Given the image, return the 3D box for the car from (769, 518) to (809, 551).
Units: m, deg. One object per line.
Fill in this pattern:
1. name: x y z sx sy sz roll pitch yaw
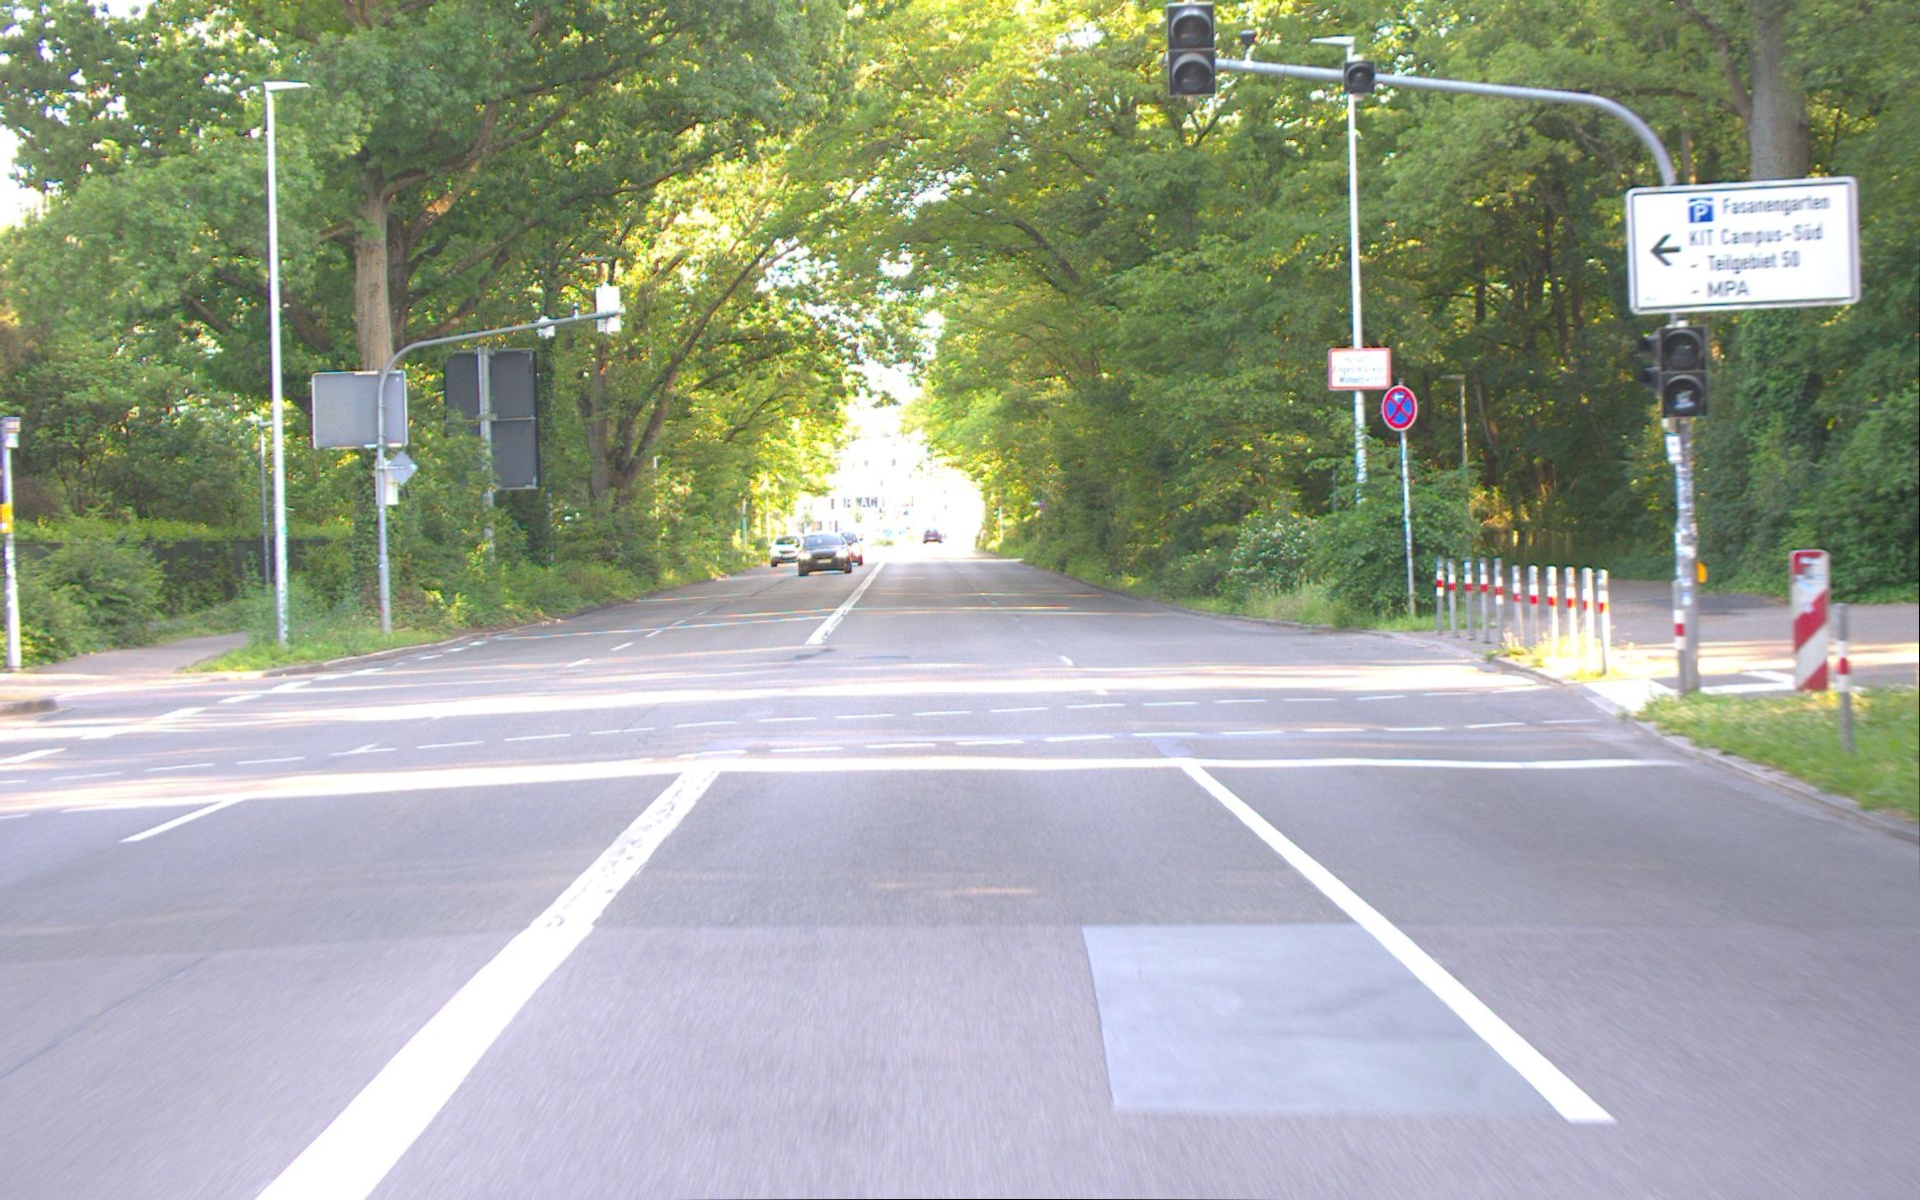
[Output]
1. car: -8.221 -3.167 165.649 1.797 1.501 4.365 -2 1 -2

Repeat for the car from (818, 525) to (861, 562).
1. car: -5.232 -2.466 149.654 1.797 1.501 4.365 -2 1 -2

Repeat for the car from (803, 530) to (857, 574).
1. car: -4.733 -1.745 125.576 1.887 1.501 4.365 -2 1 -2
